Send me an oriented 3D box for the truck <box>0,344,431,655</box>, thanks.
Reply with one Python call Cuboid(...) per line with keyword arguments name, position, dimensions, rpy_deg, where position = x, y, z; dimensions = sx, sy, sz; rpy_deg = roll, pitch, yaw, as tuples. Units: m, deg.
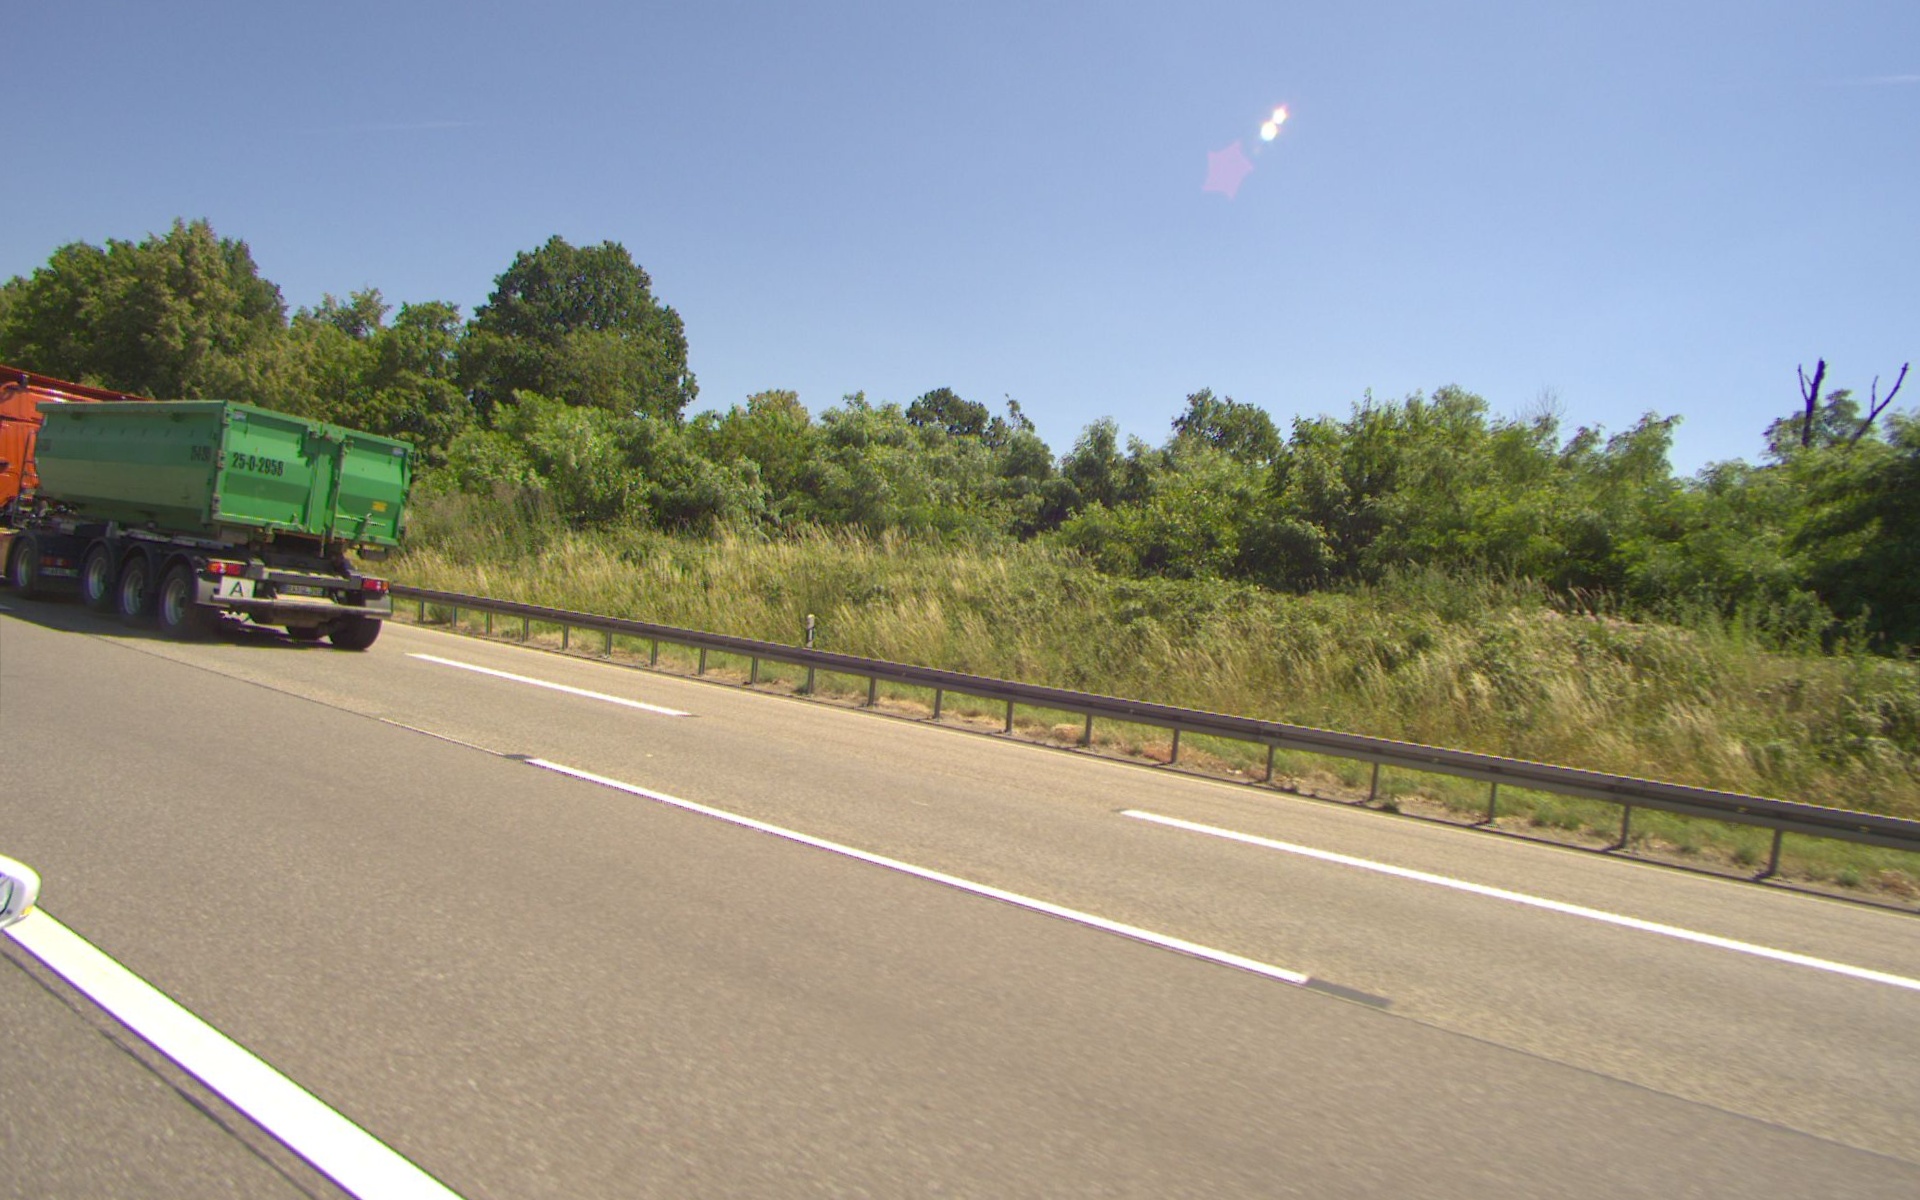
Cuboid(name="truck", position=(-14.033, -1.806, 17.099), dimensions=(12.270, 3.842, 2.686), rpy_deg=(7, -1, 32))
